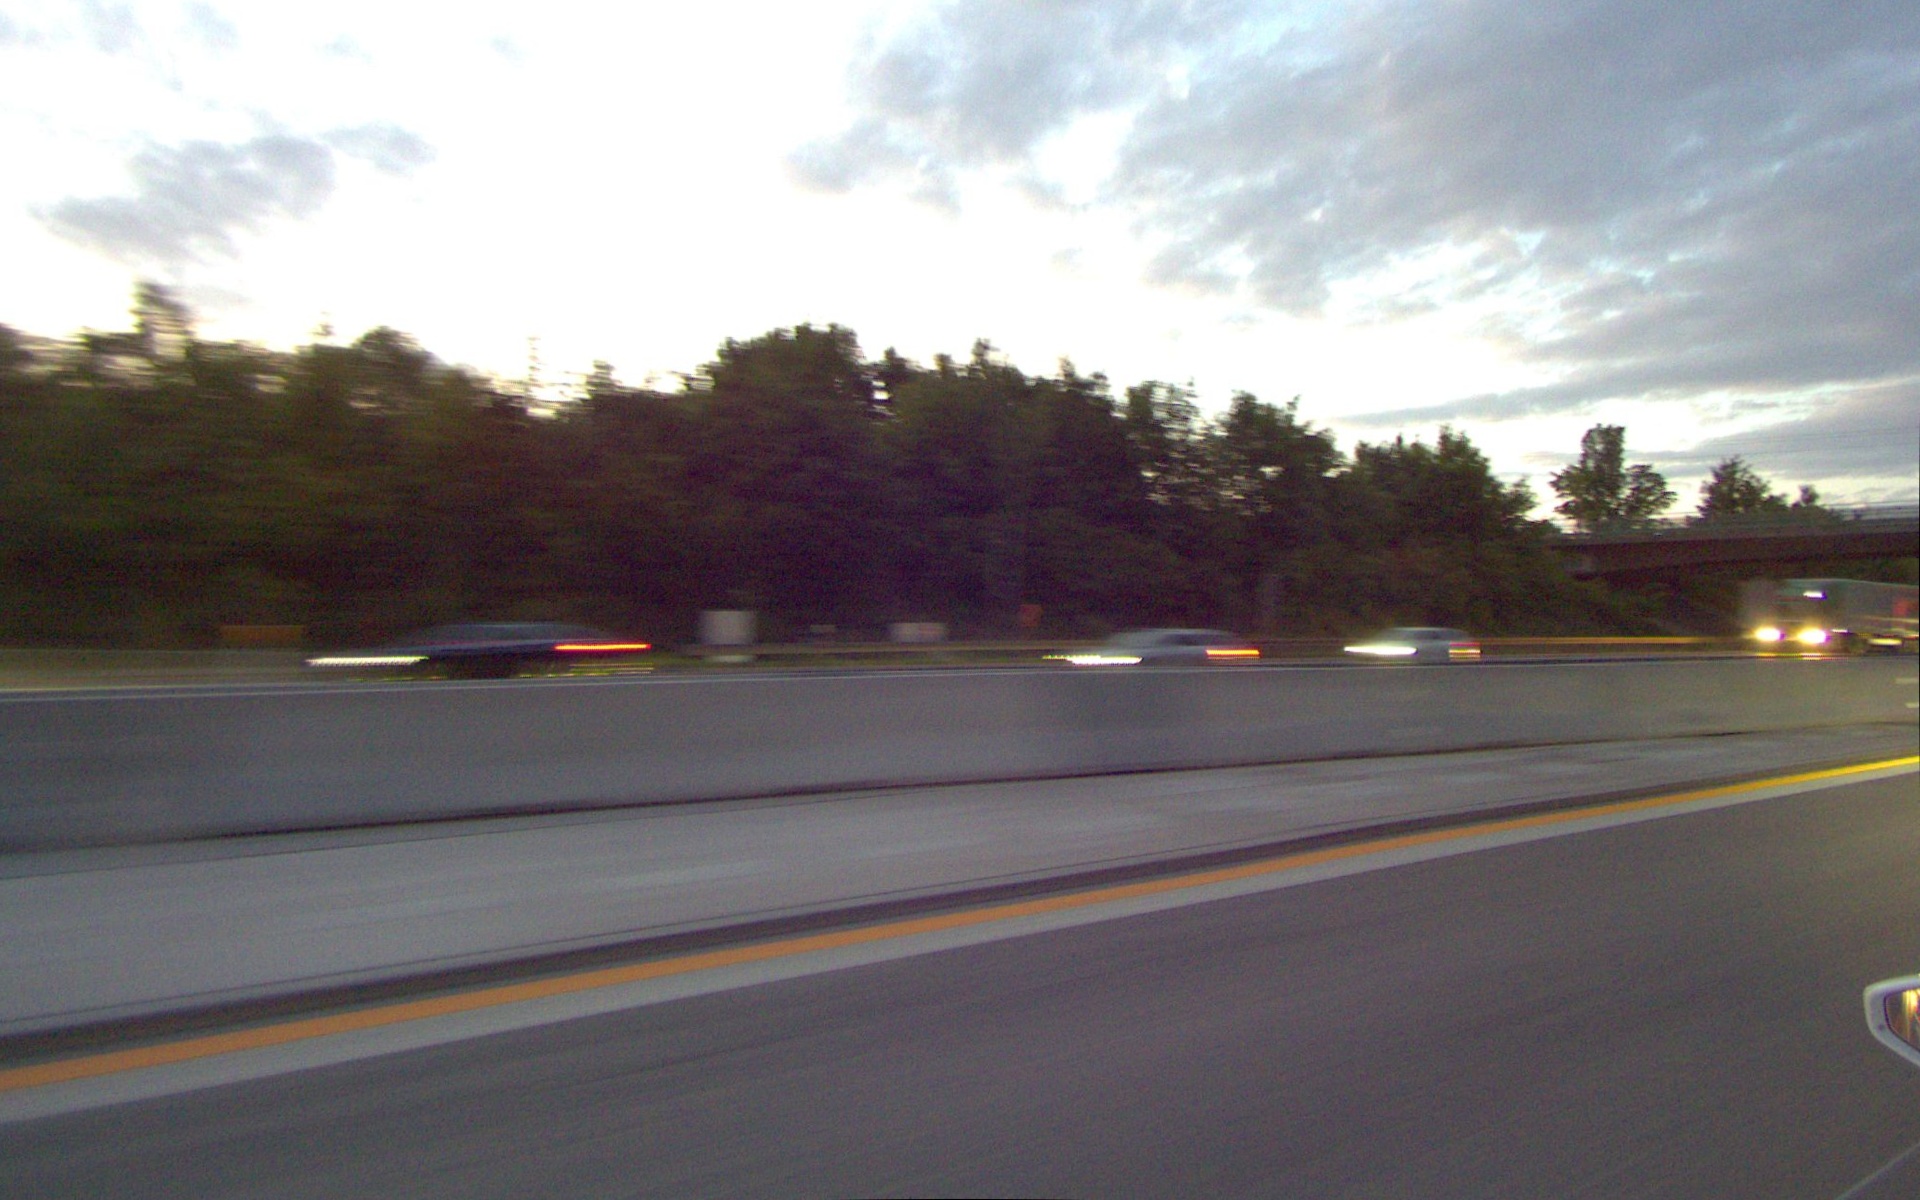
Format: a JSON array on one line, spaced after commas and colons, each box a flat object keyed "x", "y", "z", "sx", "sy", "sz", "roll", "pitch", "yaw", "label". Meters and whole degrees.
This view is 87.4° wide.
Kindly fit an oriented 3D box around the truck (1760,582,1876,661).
[{"x": 48.613, "y": 1.223, "z": 56.880, "sx": 6.304, "sy": 4.227, "sz": 2.766, "roll": 2, "pitch": 0, "yaw": -27, "label": "truck"}]

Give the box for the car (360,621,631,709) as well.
[{"x": -9.919, "y": 1.350, "z": 21.683, "sx": 5.108, "sy": 1.660, "sz": 1.729, "roll": 2, "pitch": 0, "yaw": -29, "label": "car"}]

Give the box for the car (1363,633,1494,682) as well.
[{"x": 16.987, "y": 2.056, "z": 36.346, "sx": 4.970, "sy": 1.625, "sz": 1.585, "roll": 2, "pitch": 0, "yaw": -28, "label": "car"}]

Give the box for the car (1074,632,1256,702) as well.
[{"x": 5.557, "y": 1.756, "z": 27.005, "sx": 4.832, "sy": 1.660, "sz": 1.729, "roll": 2, "pitch": 0, "yaw": -29, "label": "car"}]

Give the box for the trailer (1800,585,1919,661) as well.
[{"x": 55.299, "y": 1.436, "z": 60.396, "sx": 12.244, "sy": 4.262, "sz": 2.768, "roll": 2, "pitch": 0, "yaw": -28, "label": "trailer"}]
